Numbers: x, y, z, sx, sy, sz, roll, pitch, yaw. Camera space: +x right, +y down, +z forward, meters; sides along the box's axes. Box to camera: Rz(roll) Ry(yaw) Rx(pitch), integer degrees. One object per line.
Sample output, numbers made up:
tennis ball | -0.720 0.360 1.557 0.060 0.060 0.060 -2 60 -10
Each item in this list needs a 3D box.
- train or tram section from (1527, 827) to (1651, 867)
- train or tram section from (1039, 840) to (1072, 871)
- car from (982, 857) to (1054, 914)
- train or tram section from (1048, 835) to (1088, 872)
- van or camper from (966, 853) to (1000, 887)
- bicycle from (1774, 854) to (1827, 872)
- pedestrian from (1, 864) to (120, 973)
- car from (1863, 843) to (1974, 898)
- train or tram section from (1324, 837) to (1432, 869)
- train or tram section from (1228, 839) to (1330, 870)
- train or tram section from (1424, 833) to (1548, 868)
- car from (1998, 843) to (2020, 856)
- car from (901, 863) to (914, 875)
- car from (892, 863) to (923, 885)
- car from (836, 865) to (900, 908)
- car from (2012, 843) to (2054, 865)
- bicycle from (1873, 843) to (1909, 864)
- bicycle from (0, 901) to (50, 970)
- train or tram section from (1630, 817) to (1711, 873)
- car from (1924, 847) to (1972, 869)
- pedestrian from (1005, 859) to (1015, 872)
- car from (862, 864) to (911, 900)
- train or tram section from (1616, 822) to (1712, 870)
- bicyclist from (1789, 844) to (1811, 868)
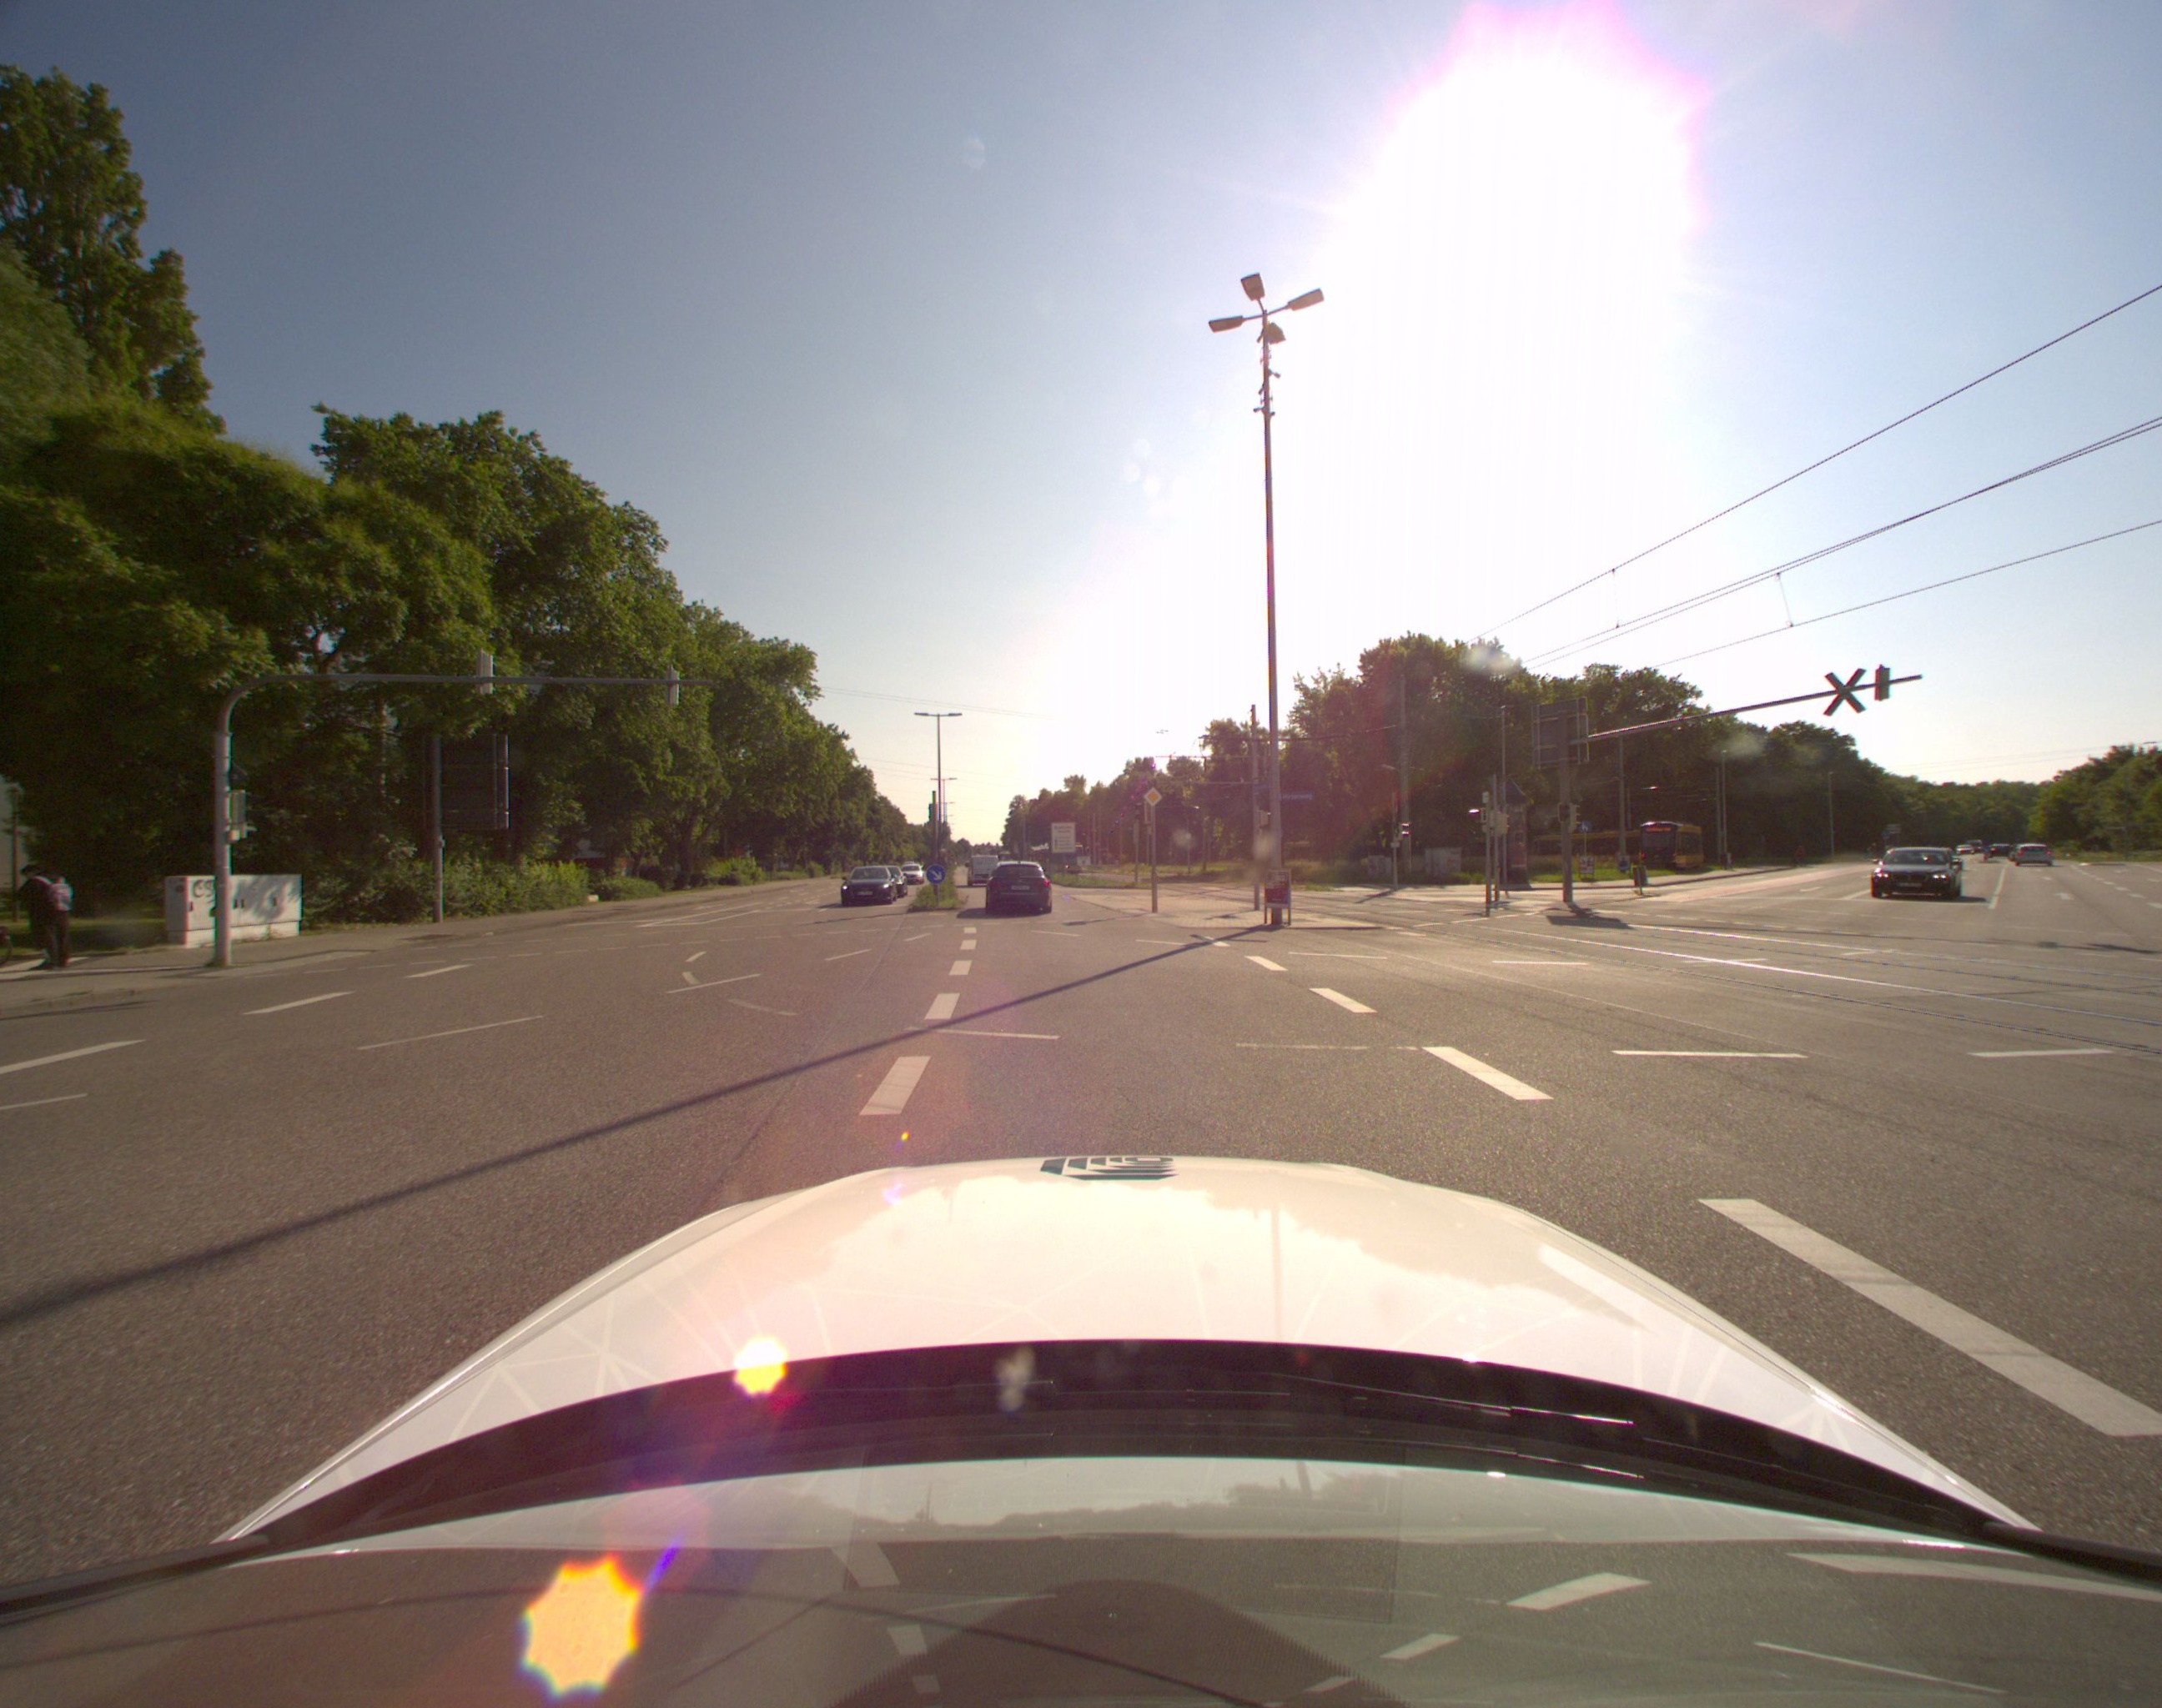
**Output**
train or tram section | 49.977 -0.567 80.809 3.044 3.579 12.190 -1 0 -9
train or tram section | -3.217 0.326 98.739 2.749 3.554 11.223 0 -1 -8
car | -1.902 0.863 23.816 1.901 1.506 4.055 -1 -1 -7
train or tram section | -1.577 0.071 86.797 2.794 3.618 12.919 0 -1 -8
van or camper | -6.444 1.004 53.355 1.993 2.096 4.583 -1 0 -9
bicycle | 61.318 0.772 69.426 1.135 1.454 3.196 1 -2 -33
pedestrian | -17.173 1.049 13.731 0.814 1.752 0.930 -1 -1 -5
car | 27.435 0.483 26.632 4.886 1.562 2.021 -2 0 -39
train or tram section | 36.028 -0.120 99.027 12.079 3.580 3.072 -1 -1 25
train or tram section | 25.129 0.089 103.642 12.294 3.580 3.069 -1 -1 20
train or tram section | 45.233 -0.340 91.493 3.071 3.580 12.079 0 -1 -44
car | 104.858 -0.567 92.021 3.548 1.383 1.587 -1 0 -40
car | -26.760 2.308 125.717 1.788 1.772 4.554 -1 0 -9
car | -12.760 1.439 60.112 1.847 1.477 4.633 -1 0 -8
car | -7.966 1.169 30.858 1.828 1.431 4.716 -2 0 -9
car | 70.216 -0.035 60.042 4.224 1.563 1.835 -1 -1 -39
bicycle | 67.810 -0.008 68.232 0.788 1.713 2.620 -1 0 11
bicycle | -18.837 1.389 13.681 1.910 1.119 0.630 -1 -1 -11
train or tram section | 42.406 -0.602 58.330 3.016 3.579 11.922 -2 -1 44
car | 55.488 0.267 52.113 4.328 1.335 1.729 -1 -1 -39
pedestrian | -8.955 1.421 102.504 0.989 1.634 0.725 -1 -1 24
car | -8.791 1.225 37.096 1.829 1.435 4.366 -2 0 -10
train or tram section | 48.949 -0.592 68.873 3.019 3.579 12.288 -1 -1 18
bicyclist | 61.325 0.186 69.438 1.144 2.014 1.087 1 -2 -33
